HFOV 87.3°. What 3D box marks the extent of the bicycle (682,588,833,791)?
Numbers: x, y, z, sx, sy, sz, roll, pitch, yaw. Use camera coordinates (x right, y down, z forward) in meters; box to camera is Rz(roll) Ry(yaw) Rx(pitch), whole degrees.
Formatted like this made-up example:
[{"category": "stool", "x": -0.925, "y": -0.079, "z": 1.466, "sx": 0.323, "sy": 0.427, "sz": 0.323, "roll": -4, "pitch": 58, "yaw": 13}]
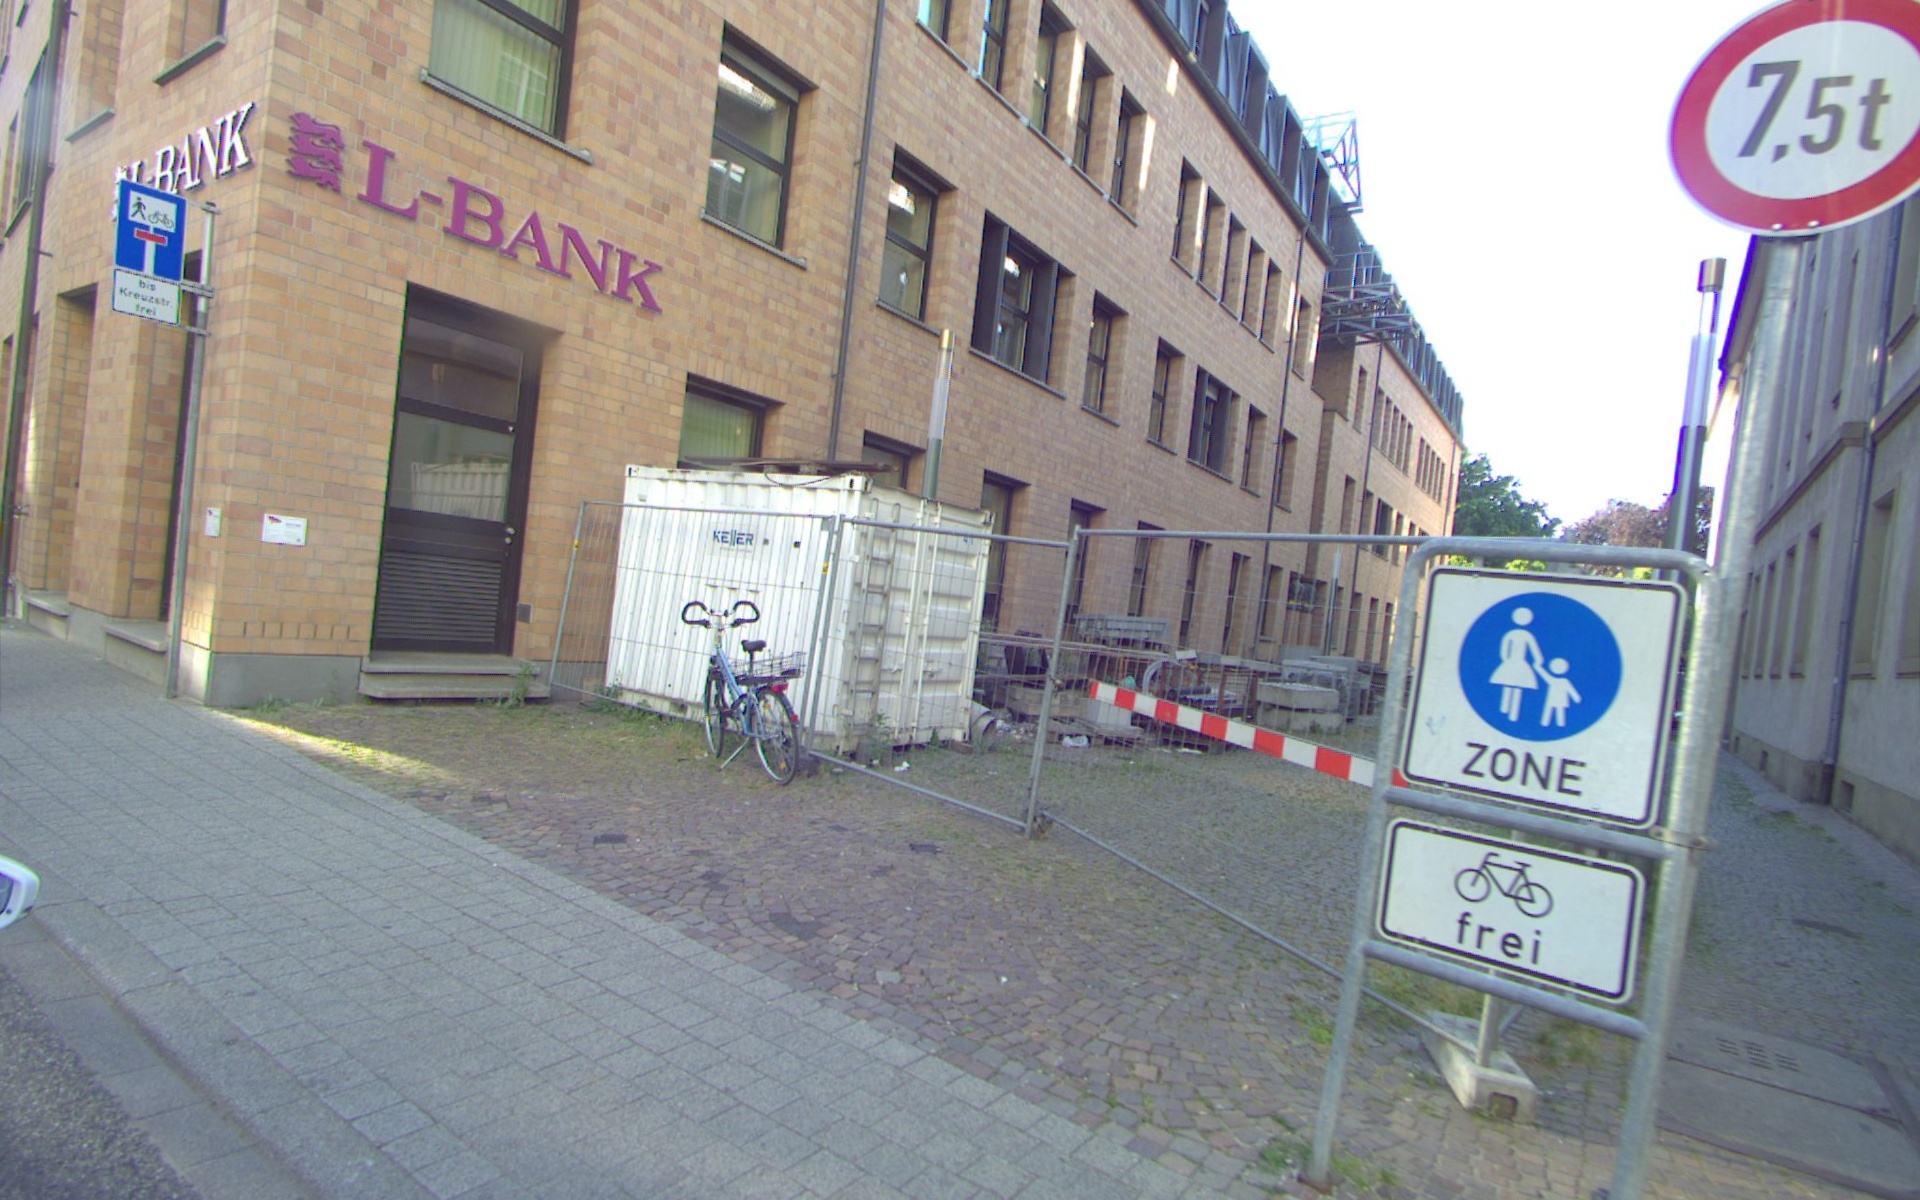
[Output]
[{"category": "bicycle", "x": -1.536, "y": 0.607, "z": 7.439, "sx": 0.317, "sy": 1.265, "sz": 1.566, "roll": 6, "pitch": 1, "yaw": -38}]
